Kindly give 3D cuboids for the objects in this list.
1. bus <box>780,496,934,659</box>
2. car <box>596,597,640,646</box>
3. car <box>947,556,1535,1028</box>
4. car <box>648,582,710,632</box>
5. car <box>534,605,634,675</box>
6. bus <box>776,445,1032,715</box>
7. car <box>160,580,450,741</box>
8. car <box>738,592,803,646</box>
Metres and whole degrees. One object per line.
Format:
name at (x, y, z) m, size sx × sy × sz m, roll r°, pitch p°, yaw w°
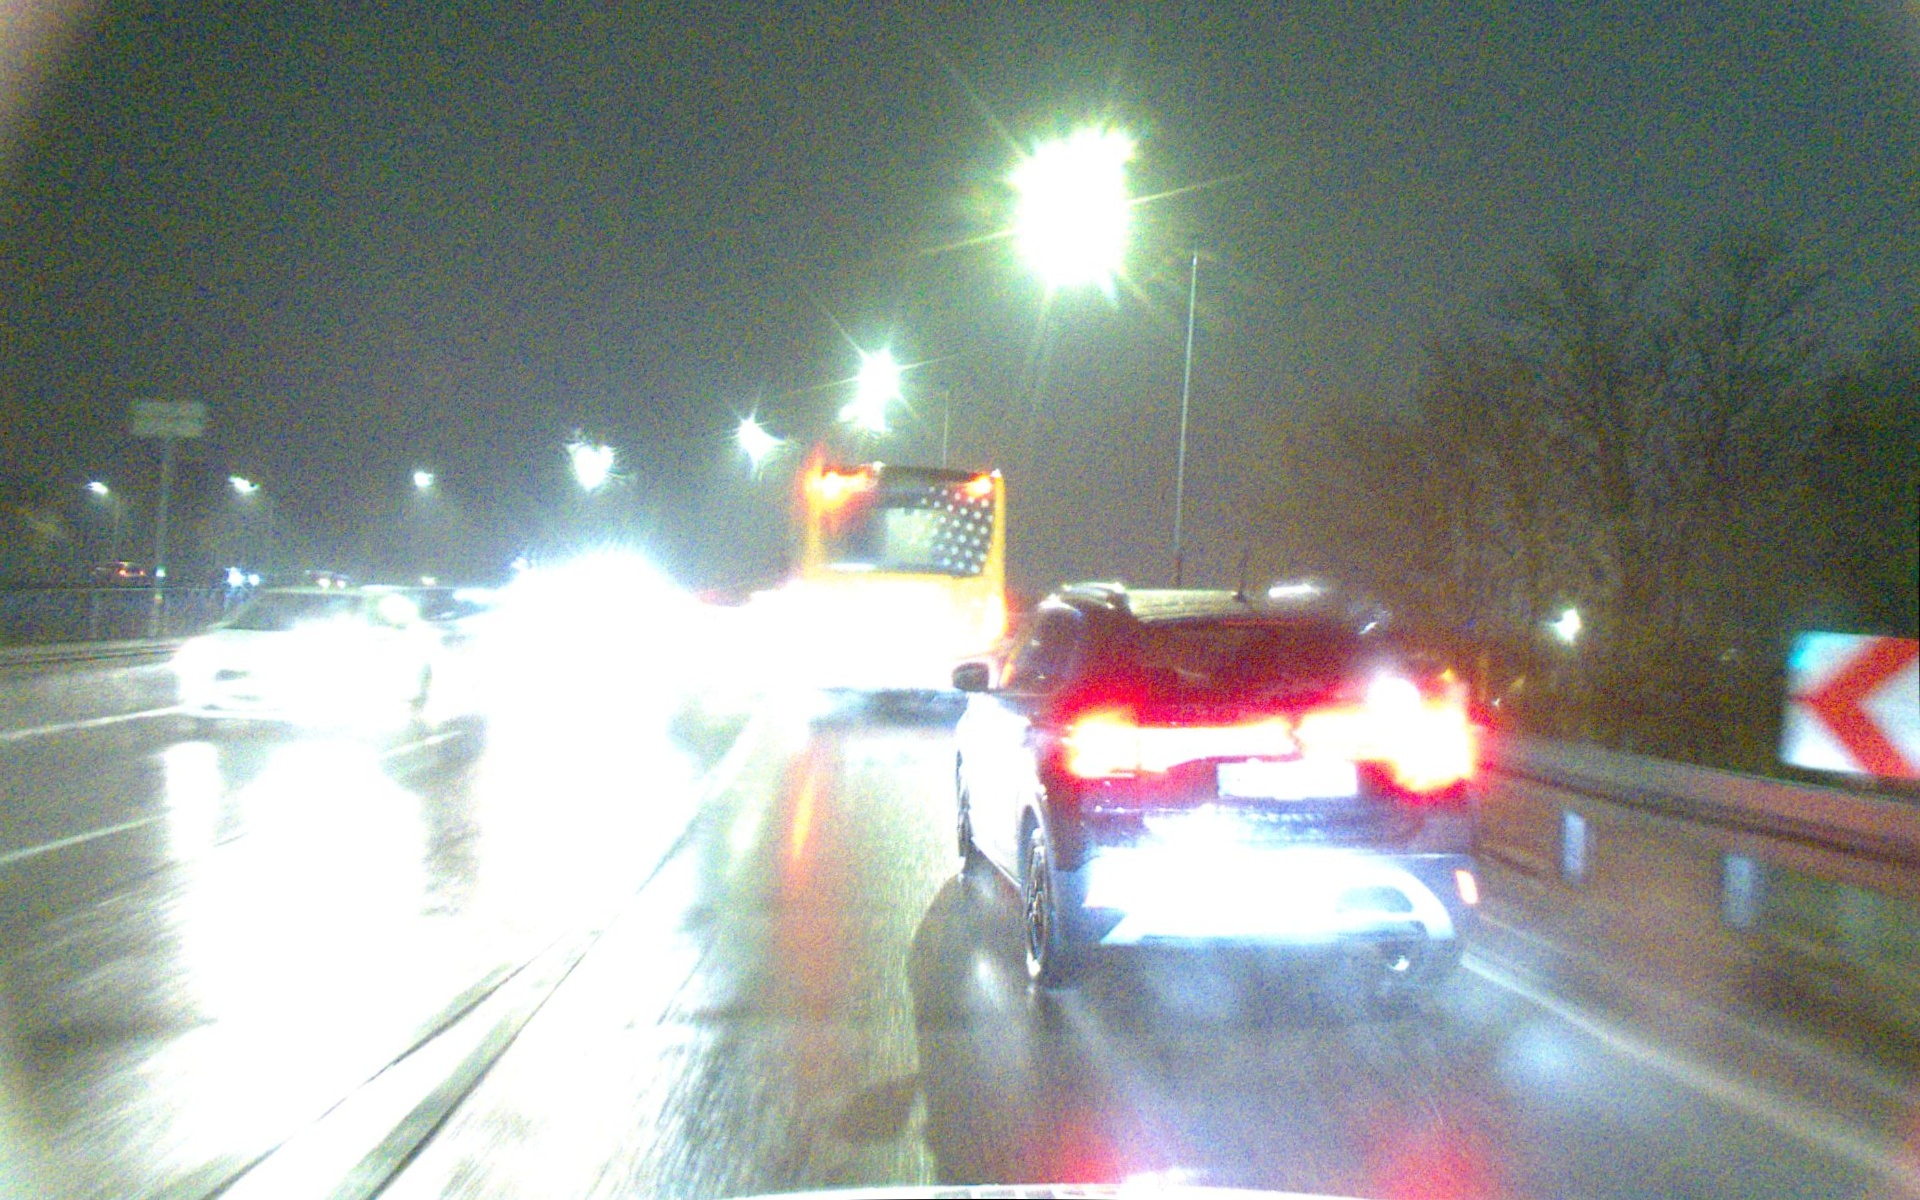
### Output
bus at (-2.440, -0.666, 36.409) m, size 2.990 × 3.185 × 8.070 m, roll 0°, pitch 3°, yaw -7°
car at (-12.159, 0.737, 58.800) m, size 1.445 × 1.612 × 3.181 m, roll 1°, pitch 1°, yaw -12°
car at (0.973, 0.668, 7.723) m, size 1.819 × 1.614 × 3.997 m, roll 0°, pitch 0°, yaw -4°
car at (-12.070, 0.288, 70.869) m, size 1.964 × 2.049 × 3.977 m, roll 1°, pitch 0°, yaw -20°
car at (-8.270, 0.846, 36.671) m, size 1.733 × 1.452 × 4.212 m, roll 0°, pitch 0°, yaw -7°
bus at (-1.363, -0.306, 26.217) m, size 3.024 × 3.187 × 12.679 m, roll 1°, pitch 1°, yaw -6°
car at (-7.005, 0.584, 18.132) m, size 1.731 × 1.544 × 3.946 m, roll 1°, pitch 0°, yaw -3°
car at (-6.295, 0.598, 54.778) m, size 1.609 × 1.684 × 3.695 m, roll 0°, pitch 1°, yaw -15°
